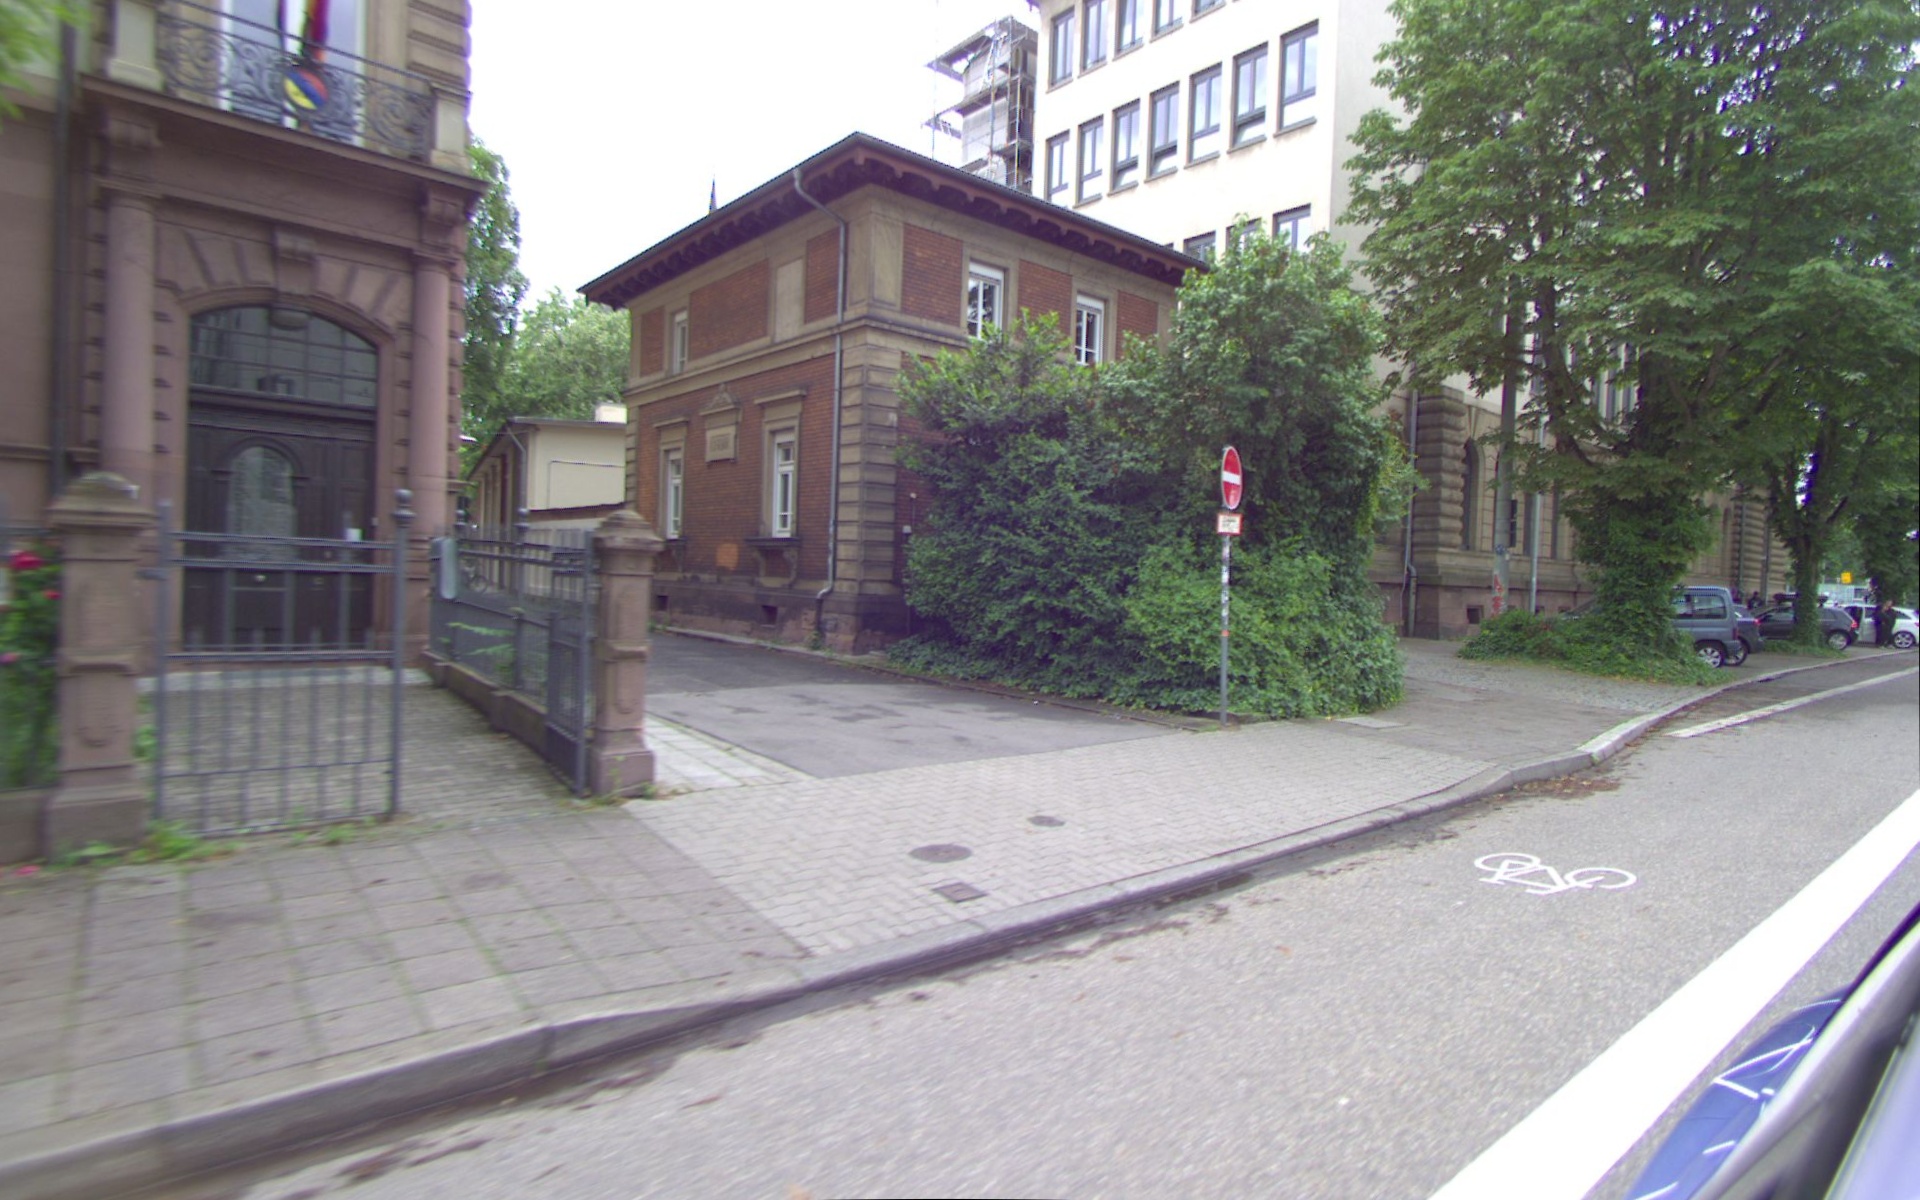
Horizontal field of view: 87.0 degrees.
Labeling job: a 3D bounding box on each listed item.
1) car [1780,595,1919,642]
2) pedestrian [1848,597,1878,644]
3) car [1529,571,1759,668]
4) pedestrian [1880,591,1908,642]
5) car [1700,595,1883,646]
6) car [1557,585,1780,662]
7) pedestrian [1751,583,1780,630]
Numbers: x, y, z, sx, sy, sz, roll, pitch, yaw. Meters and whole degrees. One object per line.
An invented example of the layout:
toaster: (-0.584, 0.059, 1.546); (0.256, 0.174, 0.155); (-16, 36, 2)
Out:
car: (33.720, 0.673, 37.952); (4.287, 1.571, 1.733); (3, 1, 28)
pedestrian: (32.598, 0.724, 36.531); (0.638, 1.646, 0.586); (2, 1, 27)
car: (15.021, 0.375, 22.465); (3.792, 1.843, 1.796); (3, 2, 20)
pedestrian: (33.176, 0.574, 35.956); (0.611, 1.772, 0.677); (2, 1, 36)
car: (27.427, 0.649, 33.547); (4.273, 1.419, 1.745); (3, 2, 18)
car: (17.020, 0.515, 24.530); (3.944, 1.558, 1.856); (3, 2, 16)
pedestrian: (32.946, 0.278, 41.383); (0.738, 1.861, 0.680); (1, 3, -40)
